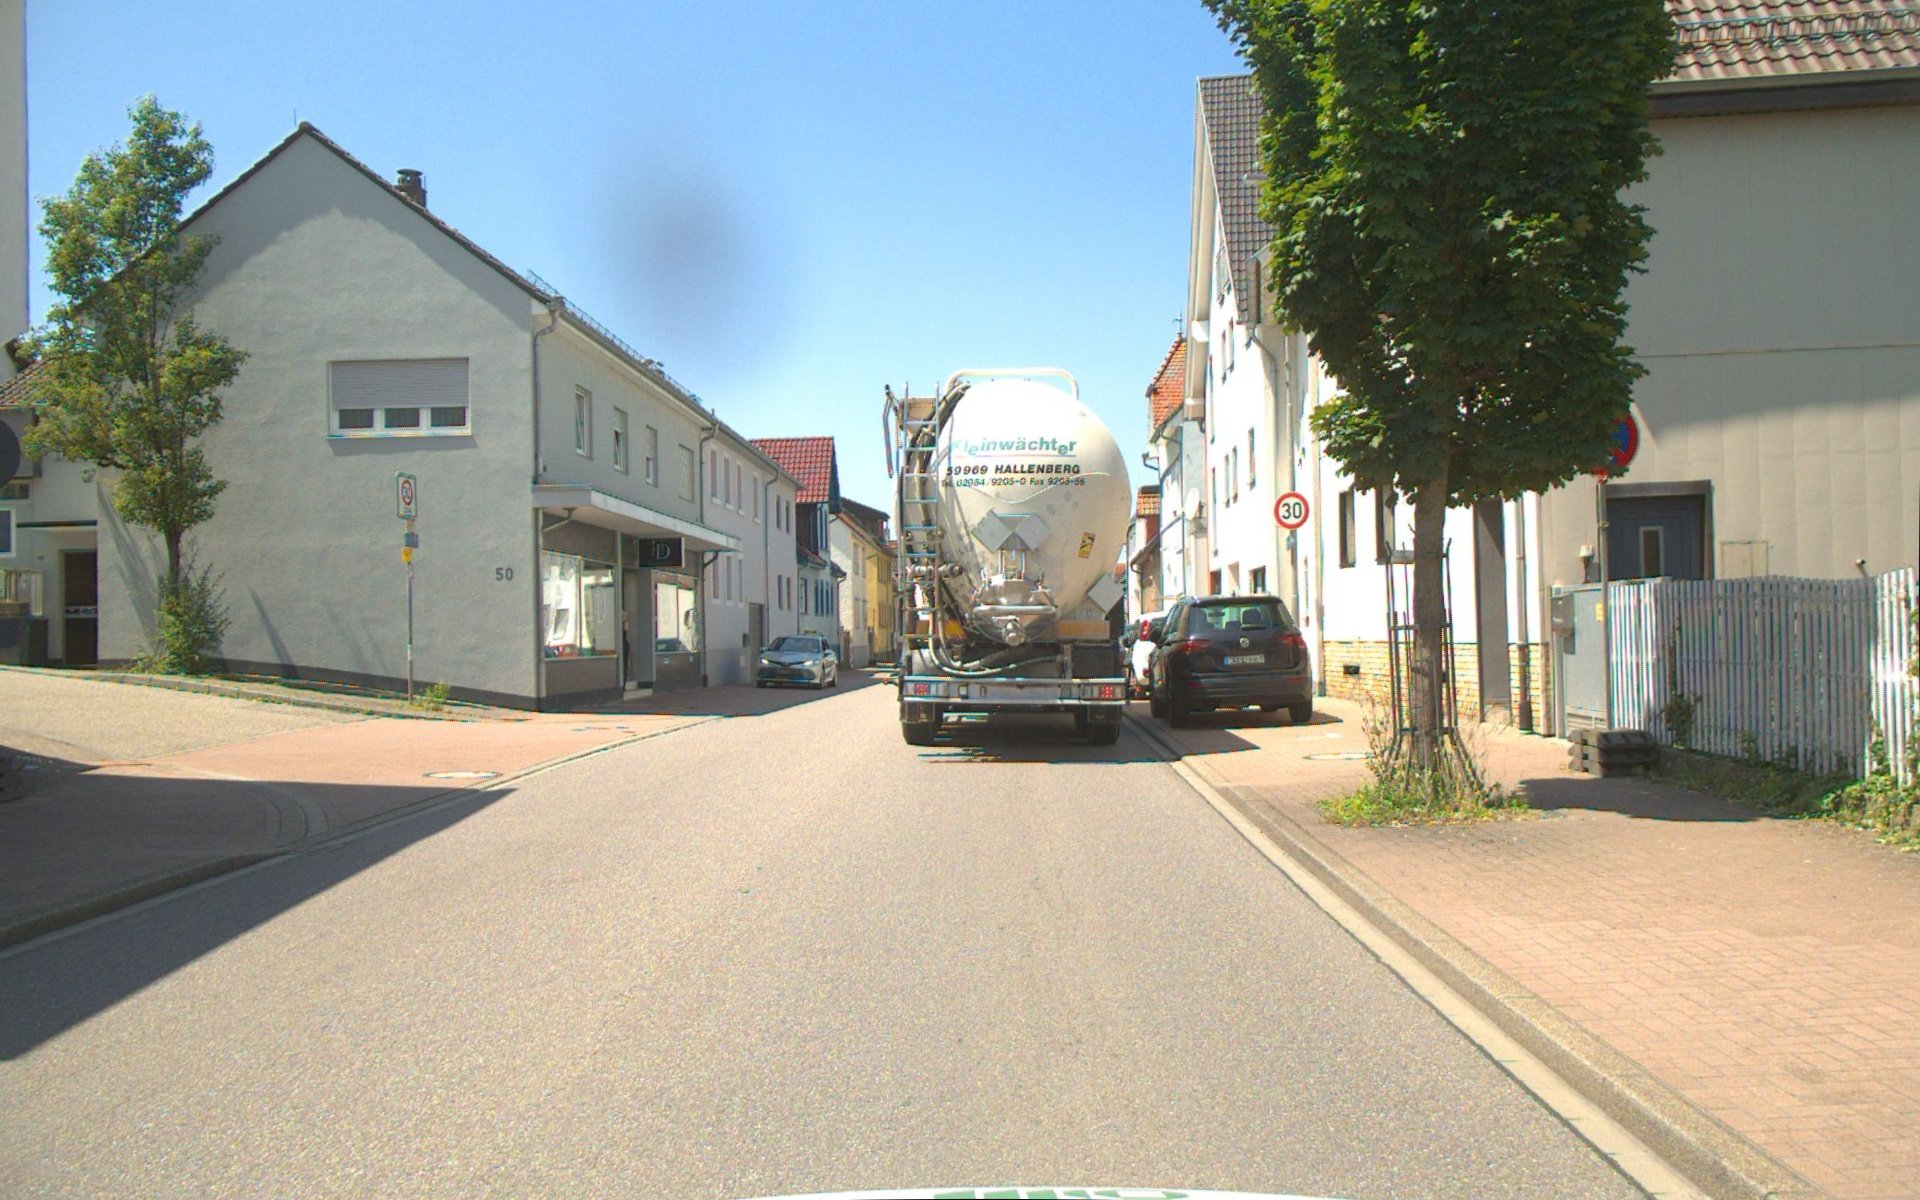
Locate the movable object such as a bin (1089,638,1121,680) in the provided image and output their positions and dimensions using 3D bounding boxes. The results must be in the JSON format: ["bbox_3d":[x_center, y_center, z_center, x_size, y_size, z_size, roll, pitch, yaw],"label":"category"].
[{"bbox_3d":[3.853,1.569,43.867,0.642,1.053,0.684,-4,-2,18],"label":"movable object such as a bin"}]

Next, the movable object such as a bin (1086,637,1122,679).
[{"bbox_3d":[3.899,1.566,44.763,0.707,1.092,0.972,-4,-2,18],"label":"movable object such as a bin"}]

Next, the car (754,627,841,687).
[{"bbox_3d":[-4.488,1.574,46.240,1.770,1.584,4.565,1,-1,2],"label":"car"}]

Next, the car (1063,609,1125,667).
[{"bbox_3d":[5.000,1.424,62.134,1.906,2.005,4.784,-2,-1,0],"label":"car"}]

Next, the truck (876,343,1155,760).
[{"bbox_3d":[0.662,-0.388,20.039,2.676,4.030,8.142,0,-1,2],"label":"truck"}]

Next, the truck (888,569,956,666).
[{"bbox_3d":[-1.652,0.849,75.276,2.564,4.055,6.853,-3,-2,1],"label":"truck"}]

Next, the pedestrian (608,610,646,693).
[{"bbox_3d":[-6.989,1.071,34.738,0.611,1.714,0.771,-1,-2,1],"label":"pedestrian"}]

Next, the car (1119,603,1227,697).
[{"bbox_3d":[3.918,0.922,30.884,1.573,1.549,3.545,-4,-2,2],"label":"car"}]

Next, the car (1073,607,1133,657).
[{"bbox_3d":[4.624,1.058,54.059,1.733,1.491,4.578,-2,-1,3],"label":"car"}]

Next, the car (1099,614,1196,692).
[{"bbox_3d":[4.027,1.147,36.226,1.665,1.472,4.837,-4,-2,2],"label":"car"}]

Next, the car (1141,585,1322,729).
[{"bbox_3d":[3.525,0.711,22.231,1.765,1.642,4.549,-3,-1,2],"label":"car"}]
